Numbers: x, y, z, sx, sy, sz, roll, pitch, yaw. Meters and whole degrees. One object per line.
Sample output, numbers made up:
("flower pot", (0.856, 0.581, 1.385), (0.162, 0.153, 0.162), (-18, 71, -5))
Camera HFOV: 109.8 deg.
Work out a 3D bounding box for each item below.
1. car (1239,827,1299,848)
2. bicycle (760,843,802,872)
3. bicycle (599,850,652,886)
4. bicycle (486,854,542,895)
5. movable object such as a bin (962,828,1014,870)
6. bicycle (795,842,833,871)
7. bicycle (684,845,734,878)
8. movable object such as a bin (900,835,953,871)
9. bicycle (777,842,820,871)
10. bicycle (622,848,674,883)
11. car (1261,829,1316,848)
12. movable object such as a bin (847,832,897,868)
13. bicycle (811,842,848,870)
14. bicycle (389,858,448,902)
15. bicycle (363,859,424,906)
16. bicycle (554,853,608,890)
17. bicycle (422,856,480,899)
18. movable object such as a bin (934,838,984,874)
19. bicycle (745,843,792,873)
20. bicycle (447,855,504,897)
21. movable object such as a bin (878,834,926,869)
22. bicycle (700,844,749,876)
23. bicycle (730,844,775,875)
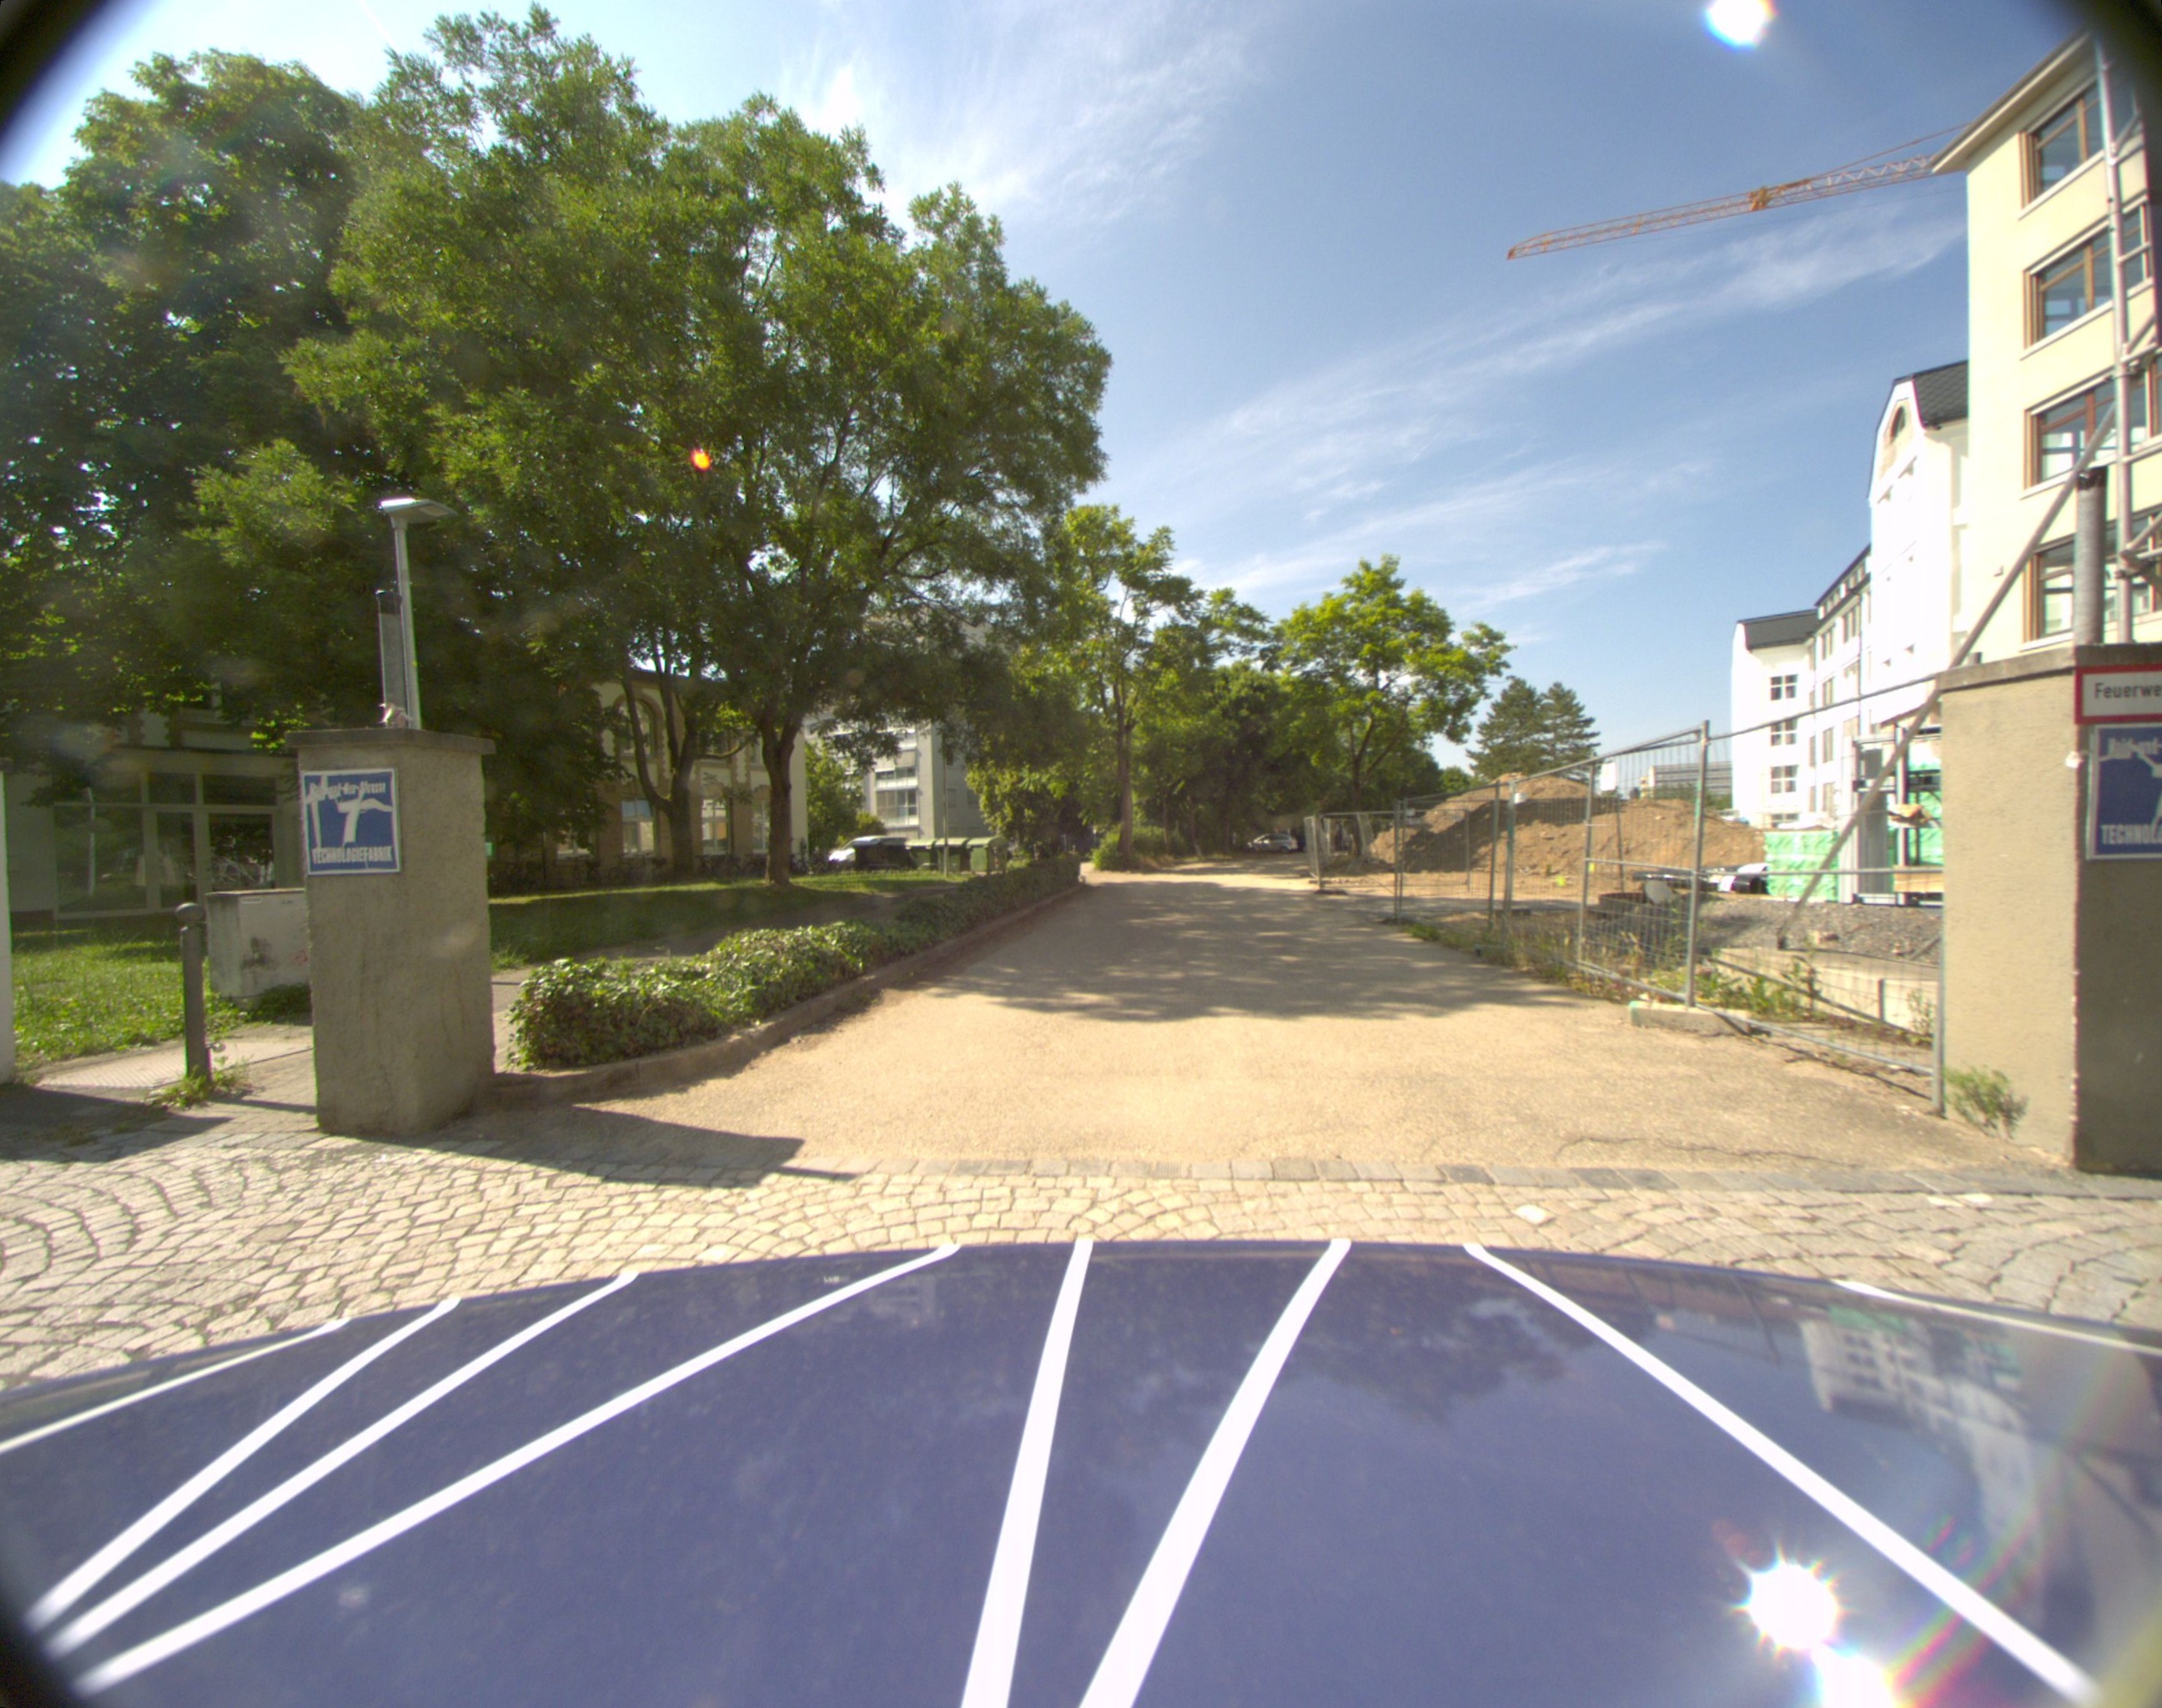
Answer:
("car", (14.034, -1.235, 56.830), (3.989, 1.499, 2.003), (-1, 2, 27))
("bicycle", (-12.117, 0.142, 30.696), (1.909, 1.155, 0.495), (0, 3, 32))
("bicycle", (-15.403, 0.456, 25.677), (2.097, 1.155, 0.589), (0, 3, 32))
("bicycle", (-17.207, 0.606, 23.040), (2.097, 1.155, 0.589), (0, 3, 32))
("movable object such as a bin", (-3.391, -0.182, 27.758), (1.388, 1.454, 1.217), (0, 3, 44))
("bicycle", (-11.225, 0.102, 31.920), (1.800, 1.155, 0.508), (0, 3, 37))
("bicycle", (-13.763, 0.281, 28.083), (2.097, 1.155, 0.589), (0, 3, 32))
("movable object such as a bin", (-5.952, -0.044, 29.311), (1.498, 1.354, 1.217), (-1, 3, 29))
("bicycle", (-11.701, 0.107, 31.453), (1.846, 1.155, 0.614), (0, 3, 32))
("bicycle", (-15.020, 0.408, 26.352), (2.097, 1.155, 0.589), (0, 3, 32))
("car", (16.802, -1.248, 61.469), (3.990, 1.434, 2.003), (-1, 2, 27))
("movable object such as a bin", (-8.513, -0.159, 30.999), (1.432, 1.401, 1.252), (-1, 3, 28))
("bicycle", (-10.700, 0.066, 32.290), (1.939, 1.155, 0.558), (0, 3, 42))
("bicycle", (-18.383, 0.706, 21.066), (2.097, 1.155, 0.589), (0, 3, 32))
("bicycle", (-18.359, 0.742, 20.275), (2.097, 1.155, 0.589), (0, 3, 32))
("bicycle", (-16.161, 0.556, 24.545), (2.097, 1.155, 0.589), (0, 3, 32))
("bicycle", (-17.985, 0.667, 21.691), (2.097, 1.155, 0.589), (0, 3, 32))
("movable object such as a bin", (-4.571, 0.062, 28.553), (1.352, 1.293, 1.217), (-1, 3, 29))
("bicycle", (-12.440, 0.157, 30.220), (2.097, 1.155, 0.589), (0, 3, 32))
("bicycle", (-17.758, 0.630, 22.284), (2.097, 1.155, 0.589), (0, 3, 32))
("movable object such as a bin", (-7.127, -0.107, 30.261), (1.349, 1.342, 1.217), (-1, 3, 29))
("bicycle", (-13.454, 0.230, 28.679), (2.097, 1.155, 0.589), (0, 3, 32))
("bicycle", (-12.778, 0.218, 29.550), (1.916, 1.155, 0.589), (0, 3, 32))
